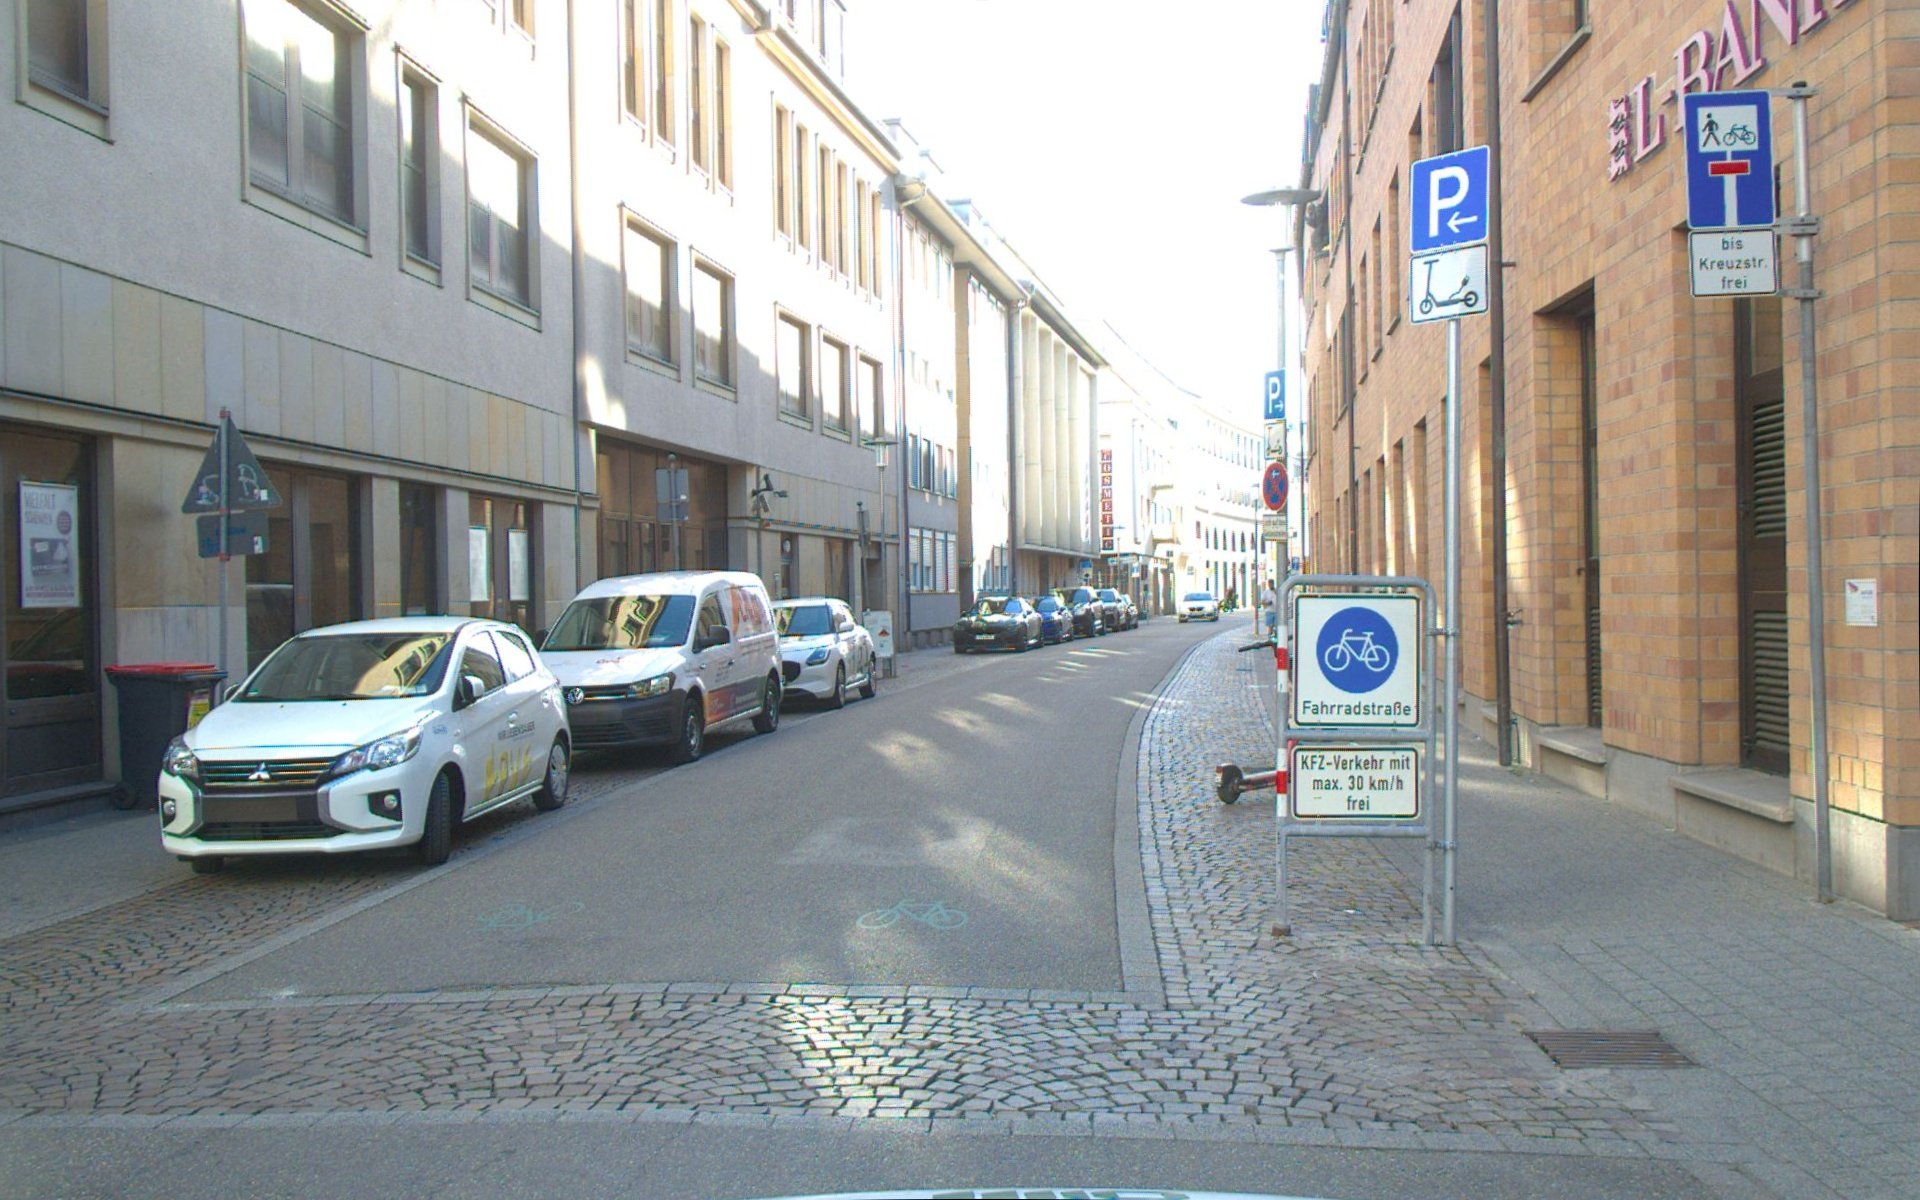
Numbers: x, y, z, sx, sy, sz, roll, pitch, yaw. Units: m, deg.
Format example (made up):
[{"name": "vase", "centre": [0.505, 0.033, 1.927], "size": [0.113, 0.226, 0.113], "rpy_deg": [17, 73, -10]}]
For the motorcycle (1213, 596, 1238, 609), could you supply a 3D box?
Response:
[{"name": "motorcycle", "centre": [18.460, 0.187, 114.927], "size": [1.655, 0.874, 0.595], "rpy_deg": [1, 0, 18]}]

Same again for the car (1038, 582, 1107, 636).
[{"name": "car", "centre": [3.833, 0.285, 55.913], "size": [1.849, 1.705, 4.557], "rpy_deg": [-2, 0, 9]}]

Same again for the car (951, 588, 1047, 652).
[{"name": "car", "centre": [1.098, 0.480, 43.890], "size": [1.849, 1.556, 4.733], "rpy_deg": [-2, 0, 9]}]

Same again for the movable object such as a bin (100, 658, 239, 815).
[{"name": "movable object such as a bin", "centre": [-5.910, 1.006, 12.386], "size": [0.721, 1.120, 0.591], "rpy_deg": [1, 0, 4]}]

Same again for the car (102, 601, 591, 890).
[{"name": "car", "centre": [-3.881, 0.824, 11.207], "size": [1.701, 1.518, 3.801], "rpy_deg": [-3, 0, 2]}]

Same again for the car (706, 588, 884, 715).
[{"name": "car", "centre": [-2.242, 0.659, 23.418], "size": [1.634, 1.548, 3.779], "rpy_deg": [-3, 0, 7]}]

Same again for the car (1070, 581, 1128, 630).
[{"name": "car", "centre": [5.360, 0.191, 63.329], "size": [1.849, 1.772, 4.394], "rpy_deg": [-2, 0, 9]}]

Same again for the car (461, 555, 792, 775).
[{"name": "car", "centre": [-3.227, 0.565, 17.121], "size": [1.859, 1.890, 4.737], "rpy_deg": [-3, 0, 7]}]

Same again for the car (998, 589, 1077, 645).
[{"name": "car", "centre": [2.403, 0.471, 50.090], "size": [1.849, 1.556, 4.344], "rpy_deg": [-2, 0, 9]}]

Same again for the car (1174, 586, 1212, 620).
[{"name": "car", "centre": [11.184, 0.131, 79.174], "size": [1.678, 1.544, 4.164], "rpy_deg": [-2, 0, 9]}]

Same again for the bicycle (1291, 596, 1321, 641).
[{"name": "bicycle", "centre": [9.258, 0.490, 44.316], "size": [0.538, 1.122, 1.984], "rpy_deg": [-4, 0, 7]}]

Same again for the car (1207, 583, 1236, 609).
[{"name": "car", "centre": [16.307, -0.285, 102.991], "size": [1.604, 1.544, 4.164], "rpy_deg": [-2, 0, 11]}]

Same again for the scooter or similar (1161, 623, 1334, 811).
[{"name": "scooter or similar", "centre": [2.132, 0.825, 12.178], "size": [1.407, 1.257, 0.530], "rpy_deg": [-1, 1, -44]}]

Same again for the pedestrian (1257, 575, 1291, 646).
[{"name": "pedestrian", "centre": [7.926, 0.259, 41.741], "size": [0.744, 1.746, 0.822], "rpy_deg": [-3, 0, 9]}]
